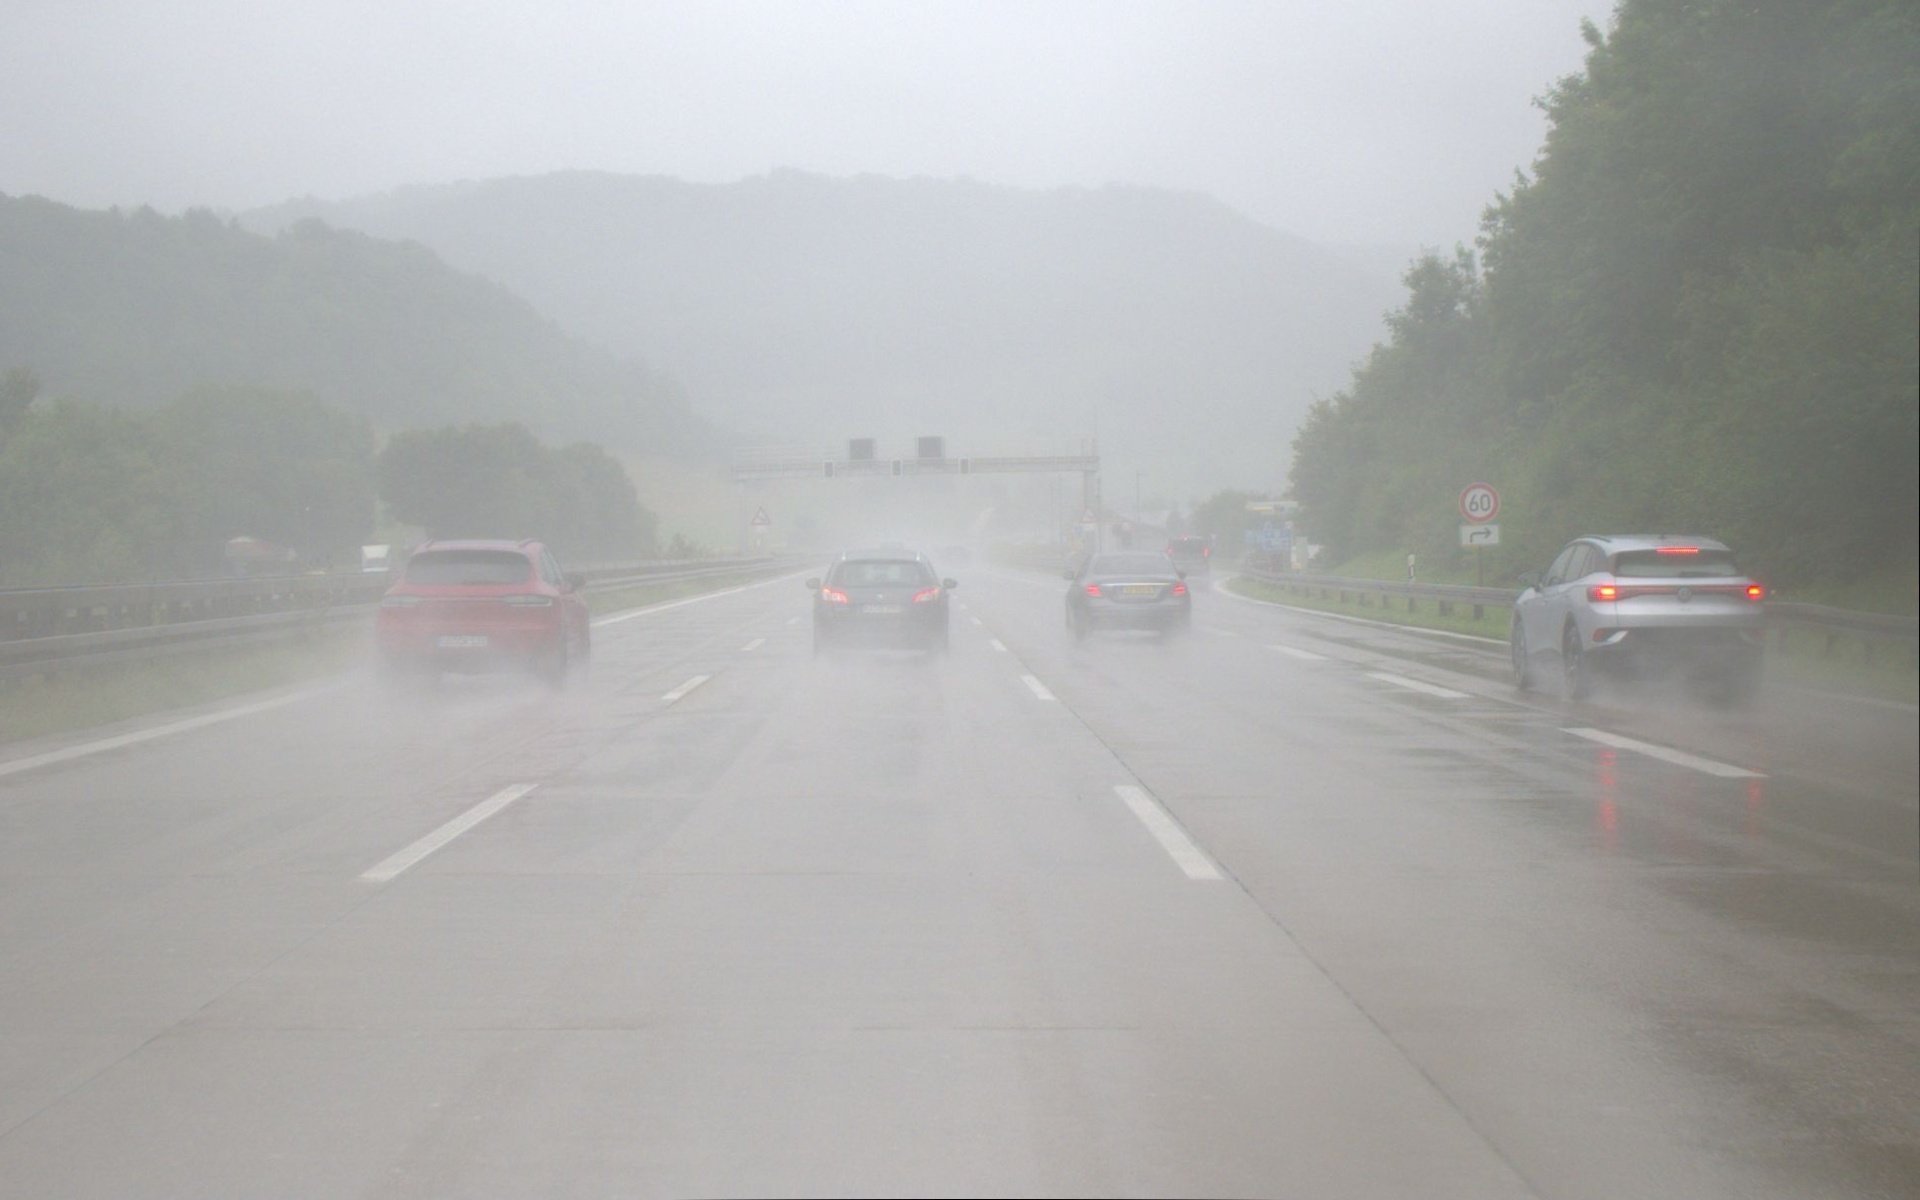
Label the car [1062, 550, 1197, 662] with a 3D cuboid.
[{"bbox_3d":[2.740,0.065,56.484,1.971,1.754,4.000,0,1,-1],"label":"car"}]

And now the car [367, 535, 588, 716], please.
[{"bbox_3d":[-5.067,0.217,36.574,1.884,1.809,4.000,0,1,-2],"label":"car"}]

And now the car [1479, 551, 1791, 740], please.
[{"bbox_3d":[6.757,0.395,35.073,1.993,1.744,5.663,1,1,-1],"label":"car"}]

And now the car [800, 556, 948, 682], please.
[{"bbox_3d":[-1.119,0.214,45.798,1.859,1.584,4.000,1,1,-1],"label":"car"}]
